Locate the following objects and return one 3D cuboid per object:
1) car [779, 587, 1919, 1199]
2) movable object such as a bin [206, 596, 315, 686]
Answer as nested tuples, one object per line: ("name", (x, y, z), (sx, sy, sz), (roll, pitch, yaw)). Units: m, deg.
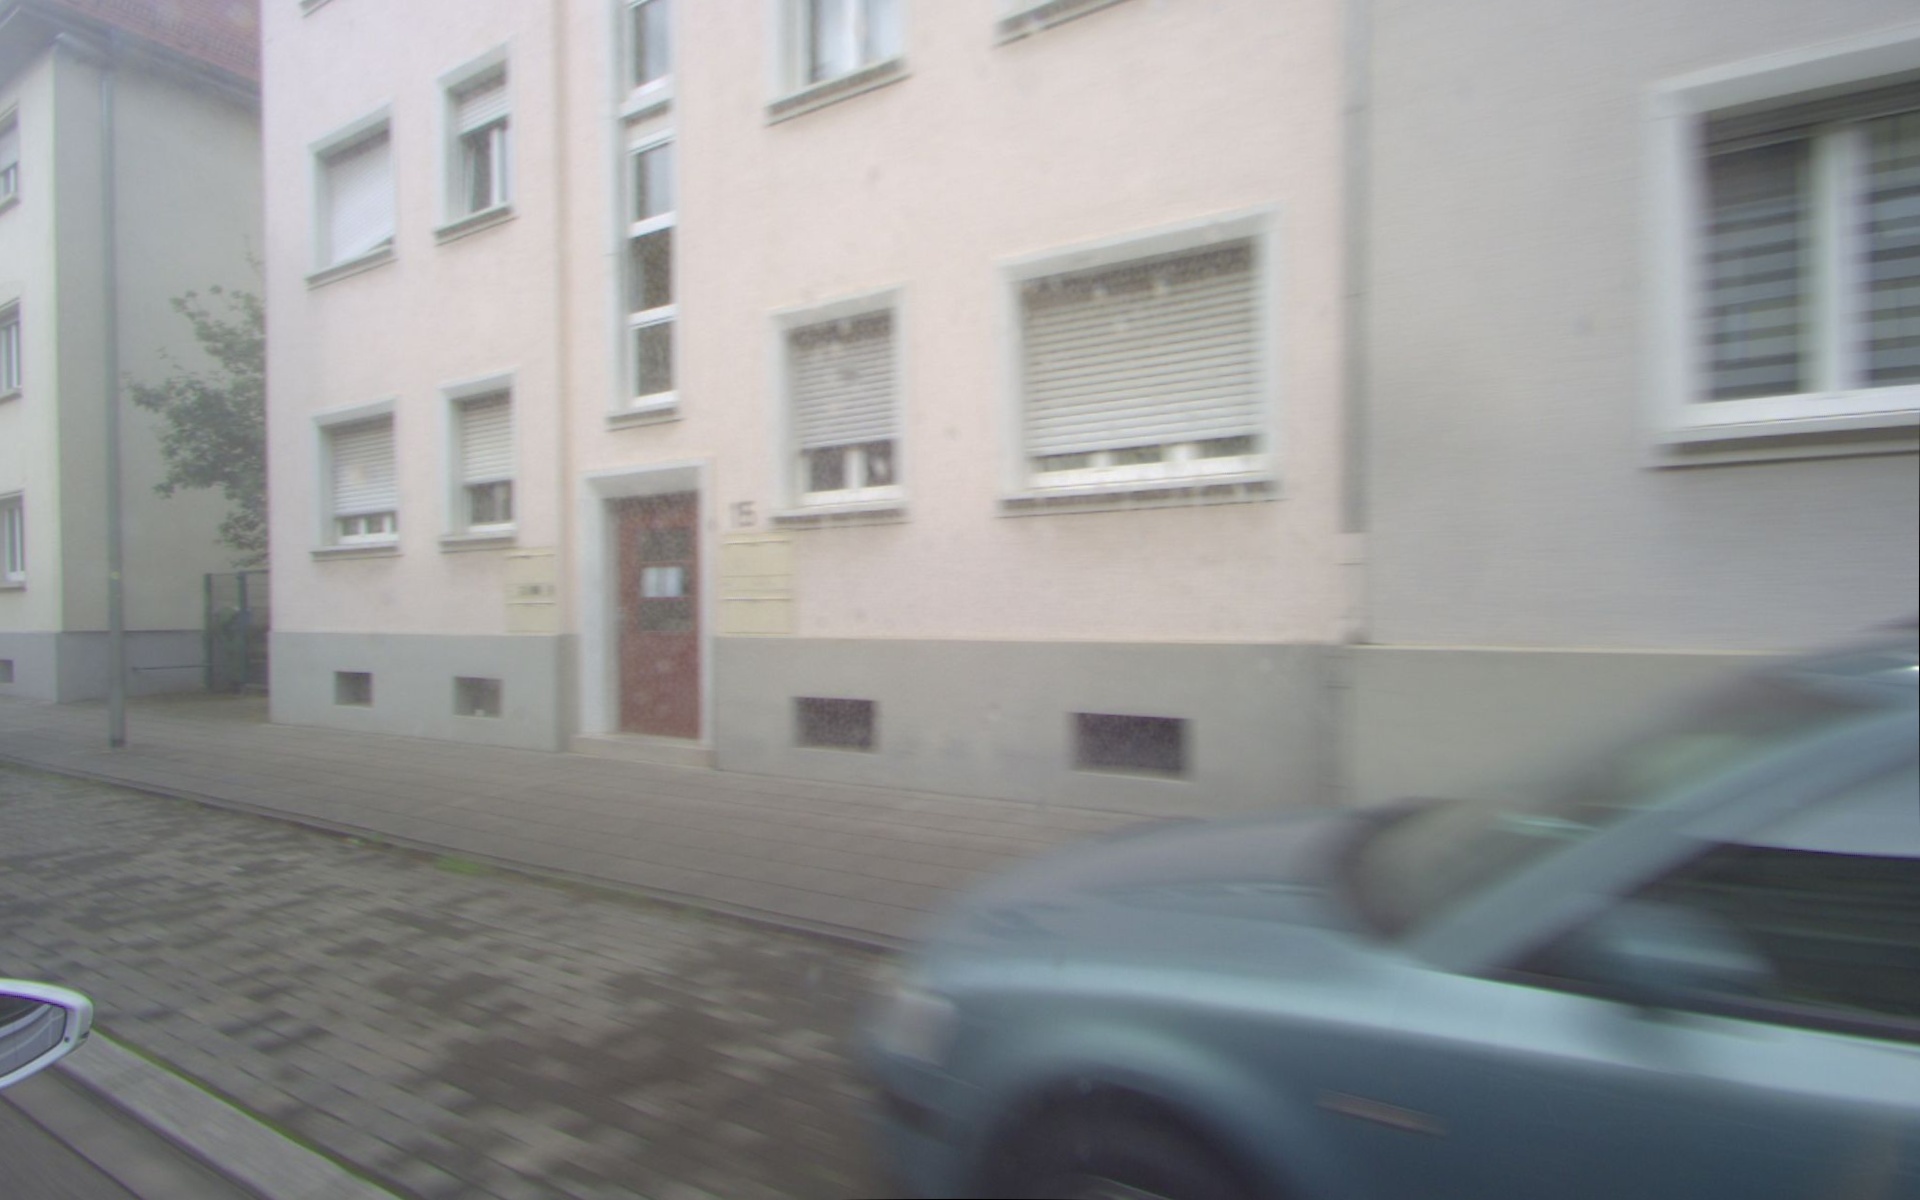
("car", (1.871, 0.725, 1.610), (4.203, 1.488, 1.721), (0, 0, 32))
("movable object such as a bin", (-11.905, 0.672, 17.061), (1.133, 1.463, 1.159), (0, 1, 32))
